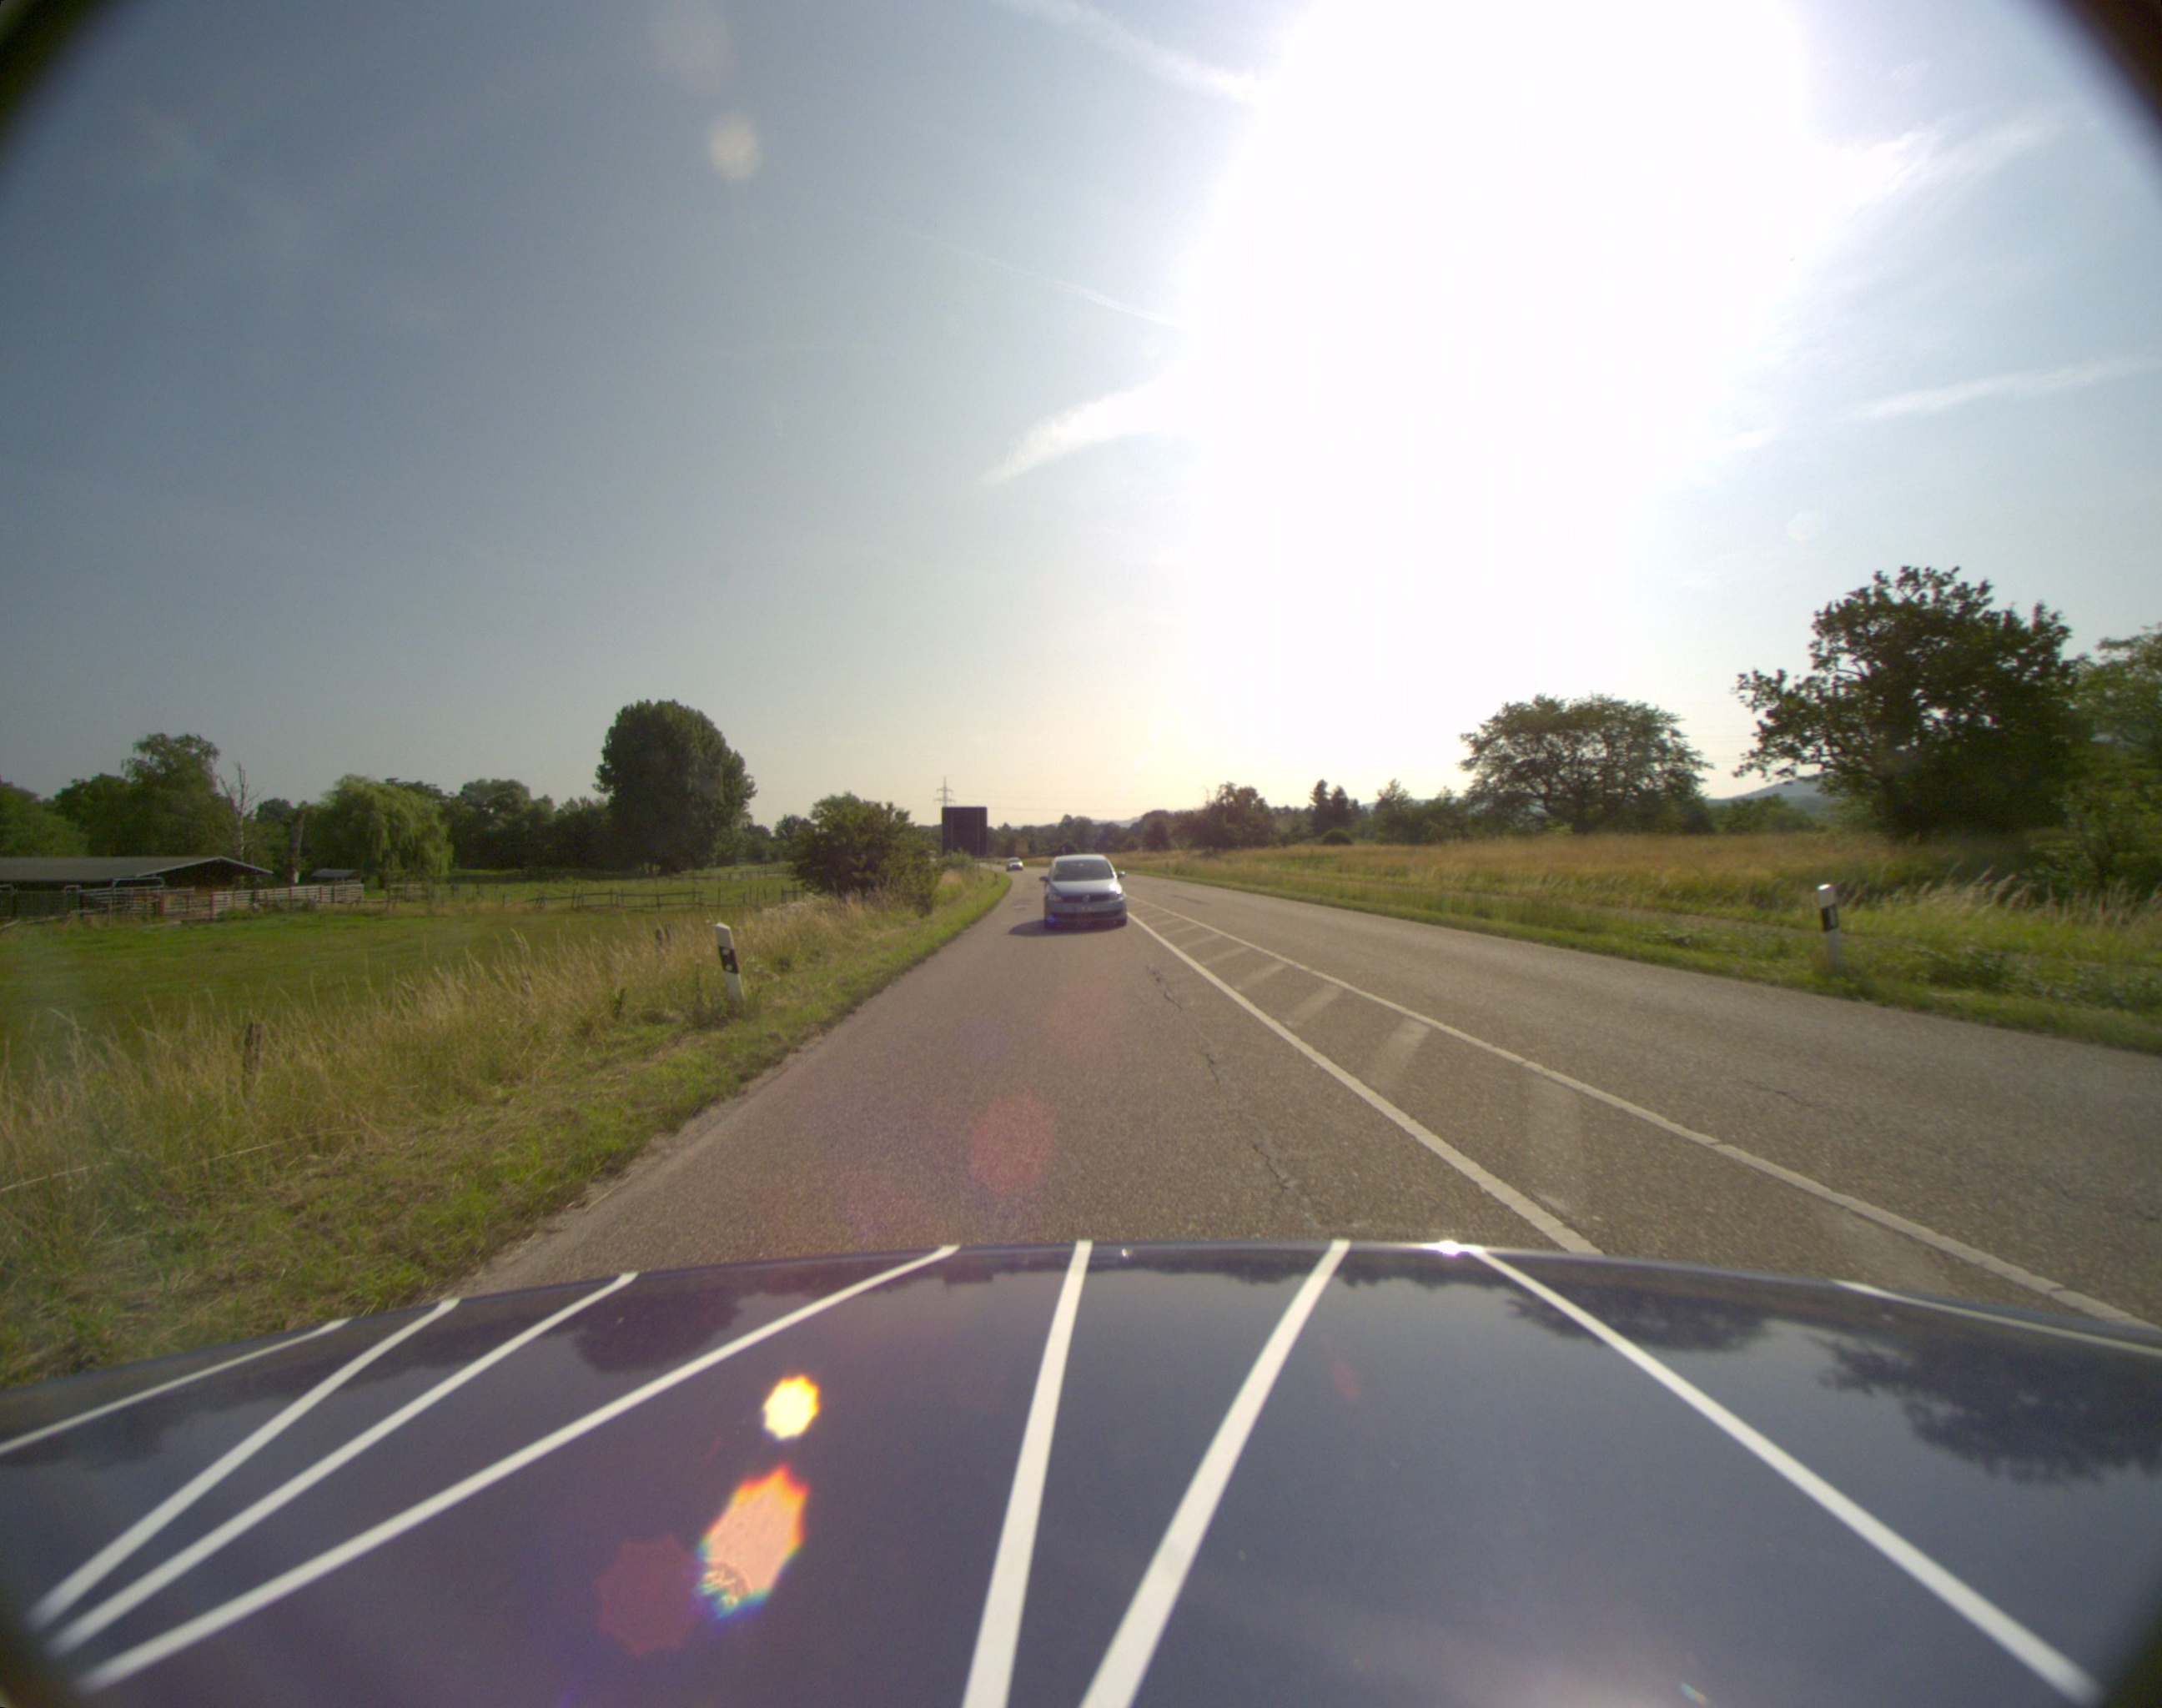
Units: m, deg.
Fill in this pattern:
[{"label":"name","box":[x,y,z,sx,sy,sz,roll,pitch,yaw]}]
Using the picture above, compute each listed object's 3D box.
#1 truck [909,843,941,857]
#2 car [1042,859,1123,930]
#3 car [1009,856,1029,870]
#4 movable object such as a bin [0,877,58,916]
[{"label":"truck","box":[-38.220,-0.999,186.099,7.362,3.028,2.583,-2,1,-4]},{"label":"car","box":[0.041,0.905,18.694,1.718,1.495,4.094,-2,0,0]},{"label":"car","box":[-7.532,1.115,91.546,2.000,1.571,3.905,-2,1,-10]},{"label":"movable object such as a bin","box":[-64.139,2.557,44.855,2.000,2.181,4.161,-3,0,-7]}]
